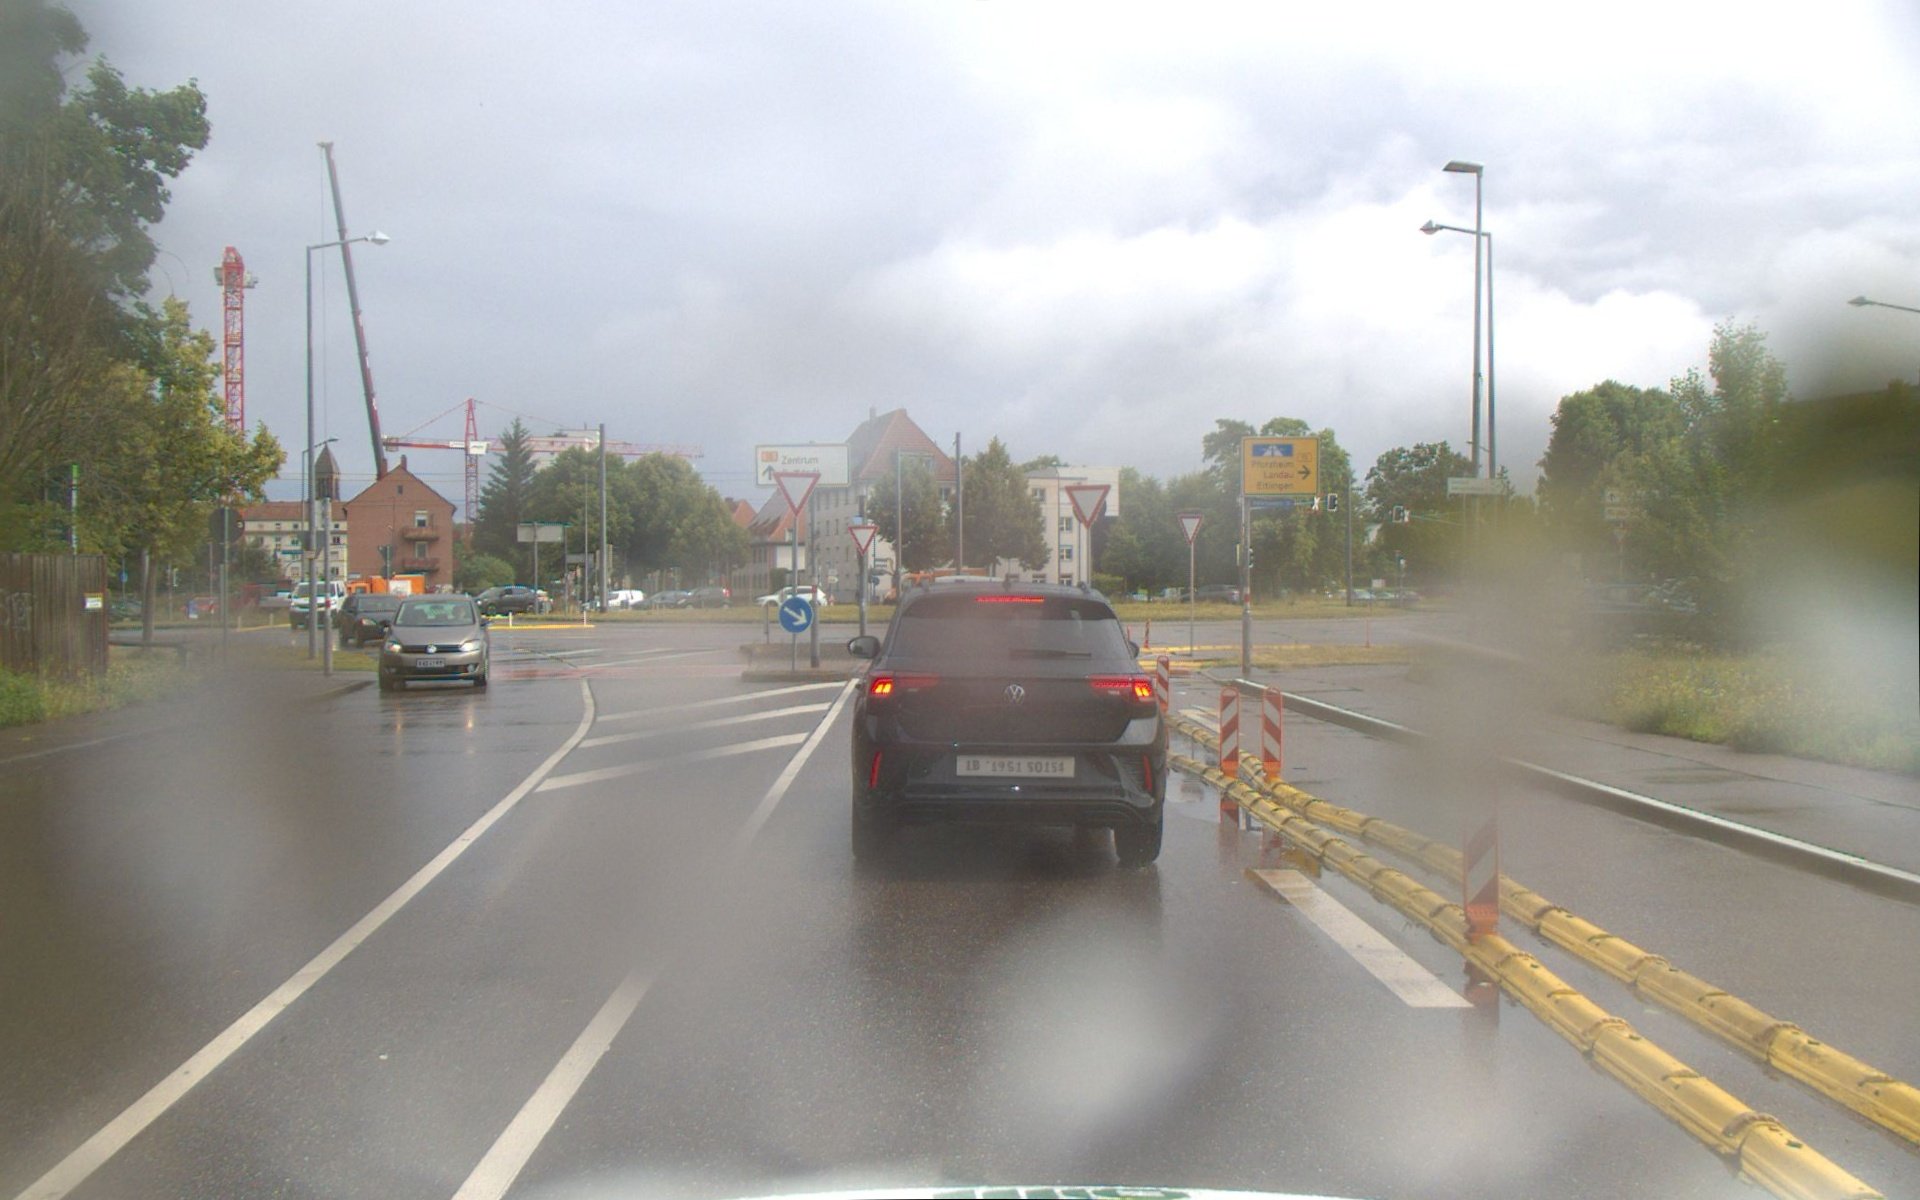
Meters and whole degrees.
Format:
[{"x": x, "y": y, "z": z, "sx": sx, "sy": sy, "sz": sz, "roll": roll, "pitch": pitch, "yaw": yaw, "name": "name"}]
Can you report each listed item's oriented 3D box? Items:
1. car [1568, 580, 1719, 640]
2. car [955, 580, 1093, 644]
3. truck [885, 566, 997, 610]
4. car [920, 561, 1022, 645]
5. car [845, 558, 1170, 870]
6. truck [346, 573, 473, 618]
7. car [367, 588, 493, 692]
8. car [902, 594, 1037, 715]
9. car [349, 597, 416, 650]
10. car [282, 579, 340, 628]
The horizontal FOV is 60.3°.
[{"x": 19.530, "y": 0.271, "z": 47.437, "sx": 3.858, "sy": 1.673, "sz": 1.672, "roll": 0, "pitch": 0, "yaw": 17, "name": "car"}, {"x": 1.913, "y": 0.355, "z": 50.276, "sx": 3.913, "sy": 1.862, "sz": 1.996, "roll": -1, "pitch": 0, "yaw": -9, "name": "car"}, {"x": -1.199, "y": -0.731, "z": 103.003, "sx": 6.925, "sy": 2.696, "sz": 2.329, "roll": 0, "pitch": 0, "yaw": -3, "name": "truck"}, {"x": 0.320, "y": 0.042, "z": 38.355, "sx": 1.824, "sy": 1.841, "sz": 4.407, "roll": 0, "pitch": 0, "yaw": 8, "name": "car"}, {"x": 0.132, "y": 0.591, "z": 10.395, "sx": 1.675, "sy": 1.601, "sz": 3.680, "roll": 1, "pitch": 0, "yaw": -4, "name": "car"}, {"x": -31.580, "y": -0.295, "z": 94.945, "sx": 6.625, "sy": 2.485, "sz": 2.412, "roll": -1, "pitch": 0, "yaw": -28, "name": "truck"}, {"x": -9.345, "y": 0.653, "z": 28.960, "sx": 1.756, "sy": 1.579, "sz": 4.397, "roll": -3, "pitch": 1, "yaw": -22, "name": "car"}, {"x": 0.061, "y": 0.696, "z": 23.182, "sx": 1.701, "sy": 1.540, "sz": 3.602, "roll": 0, "pitch": 0, "yaw": -3, "name": "car"}, {"x": -17.631, "y": 0.711, "z": 50.435, "sx": 1.847, "sy": 1.508, "sz": 4.152, "roll": -1, "pitch": 0, "yaw": -20, "name": "car"}, {"x": -26.728, "y": 0.133, "z": 68.253, "sx": 1.858, "sy": 1.909, "sz": 5.107, "roll": -1, "pitch": 0, "yaw": -17, "name": "car"}]
